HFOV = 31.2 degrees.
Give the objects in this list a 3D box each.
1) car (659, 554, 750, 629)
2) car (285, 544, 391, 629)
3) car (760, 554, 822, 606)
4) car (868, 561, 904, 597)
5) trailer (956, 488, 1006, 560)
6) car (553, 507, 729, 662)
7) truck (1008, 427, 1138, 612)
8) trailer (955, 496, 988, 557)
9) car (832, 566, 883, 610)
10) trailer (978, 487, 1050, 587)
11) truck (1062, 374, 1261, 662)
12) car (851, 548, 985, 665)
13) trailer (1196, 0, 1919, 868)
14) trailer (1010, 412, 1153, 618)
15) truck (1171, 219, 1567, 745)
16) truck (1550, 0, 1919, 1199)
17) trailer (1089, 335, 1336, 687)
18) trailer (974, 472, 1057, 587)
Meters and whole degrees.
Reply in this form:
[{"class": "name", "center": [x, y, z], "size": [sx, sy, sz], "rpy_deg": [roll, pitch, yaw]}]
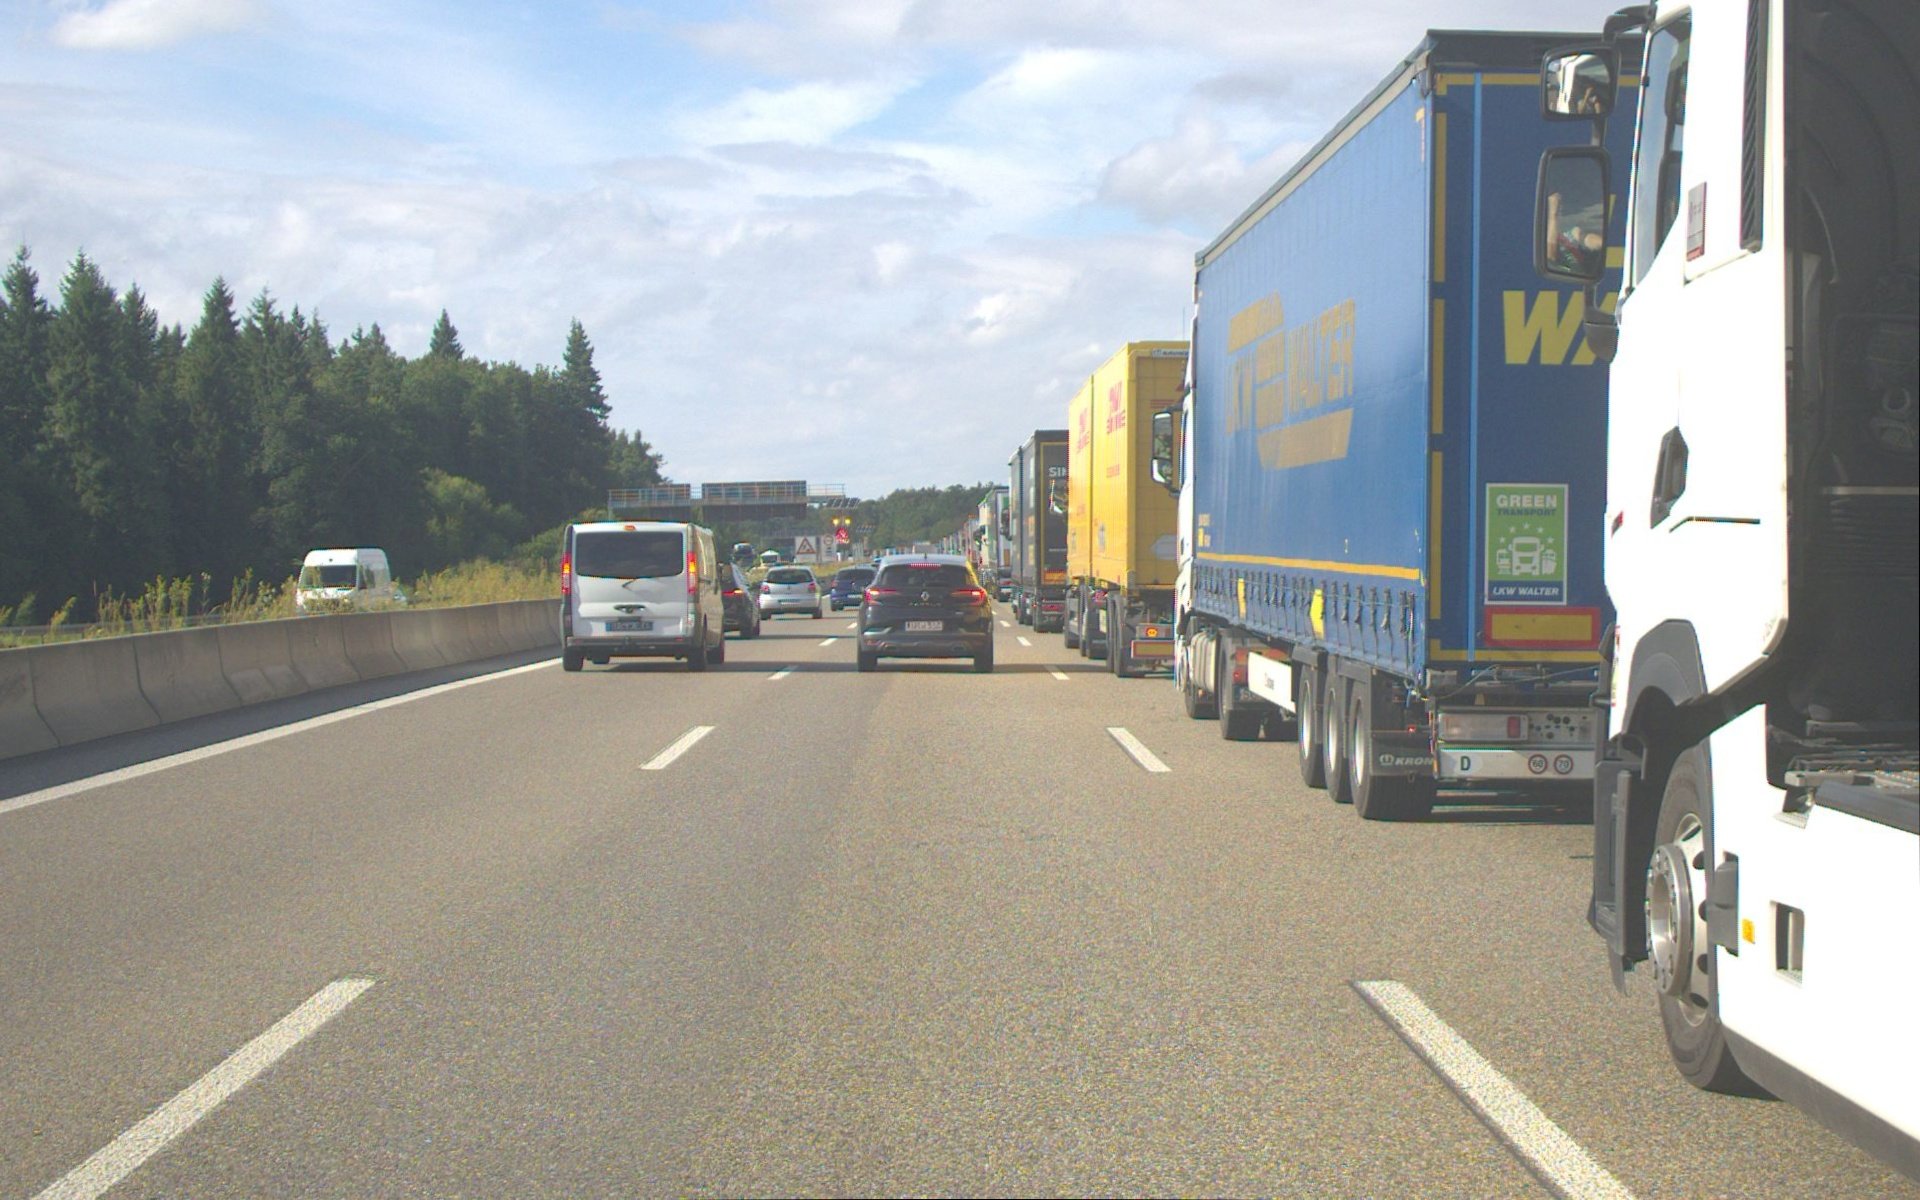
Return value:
[{"class": "car", "center": [-4.897, -0.172, 66.139], "size": [1.500, 1.391, 3.476], "rpy_deg": [1, 1, 0]}, {"class": "car", "center": [-19.462, -0.442, 107.861], "size": [2.033, 2.570, 7.322], "rpy_deg": [1, 1, -1]}, {"class": "car", "center": [-4.581, -0.552, 93.552], "size": [1.500, 1.391, 3.476], "rpy_deg": [1, 1, 0]}, {"class": "car", "center": [-2.918, -0.824, 135.520], "size": [1.361, 1.391, 3.085], "rpy_deg": [1, 1, 0]}, {"class": "trailer", "center": [1.318, -4.683, 214.122], "size": [2.802, 4.229, 11.057], "rpy_deg": [-3, 1, 1]}, {"class": "car", "center": [-4.302, -0.227, 47.000], "size": [1.933, 1.972, 5.099], "rpy_deg": [1, 1, 0]}, {"class": "truck", "center": [2.535, -1.809, 80.368], "size": [2.741, 4.024, 10.203], "rpy_deg": [1, 1, 0]}, {"class": "trailer", "center": [0.854, -5.259, 248.269], "size": [2.150, 4.244, 8.440], "rpy_deg": [-2, 1, 0]}, {"class": "car", "center": [-3.375, -0.410, 113.251], "size": [1.581, 1.391, 3.208], "rpy_deg": [1, 1, 0]}, {"class": "trailer", "center": [2.296, -2.753, 150.555], "size": [2.703, 4.068, 12.945], "rpy_deg": [-3, 1, 0]}, {"class": "truck", "center": [3.001, -1.238, 53.535], "size": [2.412, 4.054, 9.665], "rpy_deg": [1, 1, 0]}, {"class": "car", "center": [-0.548, 0.065, 46.000], "size": [1.696, 1.478, 4.160], "rpy_deg": [1, 1, 0]}, {"class": "trailer", "center": [3.376, -0.880, 22.943], "size": [2.642, 4.084, 13.981], "rpy_deg": [1, 1, 0]}, {"class": "trailer", "center": [2.430, -1.735, 70.892], "size": [2.716, 3.947, 8.711], "rpy_deg": [1, 1, 1]}, {"class": "truck", "center": [3.386, -0.952, 30.052], "size": [2.648, 4.075, 6.492], "rpy_deg": [1, 1, 0]}, {"class": "truck", "center": [3.247, -0.531, 7.518], "size": [2.649, 3.911, 6.942], "rpy_deg": [1, 1, 0]}, {"class": "trailer", "center": [3.087, -1.101, 44.243], "size": [2.412, 4.054, 8.927], "rpy_deg": [1, 1, 0]}, {"class": "trailer", "center": [1.935, -2.492, 125.235], "size": [2.661, 3.855, 13.395], "rpy_deg": [-2, 1, 0]}]
